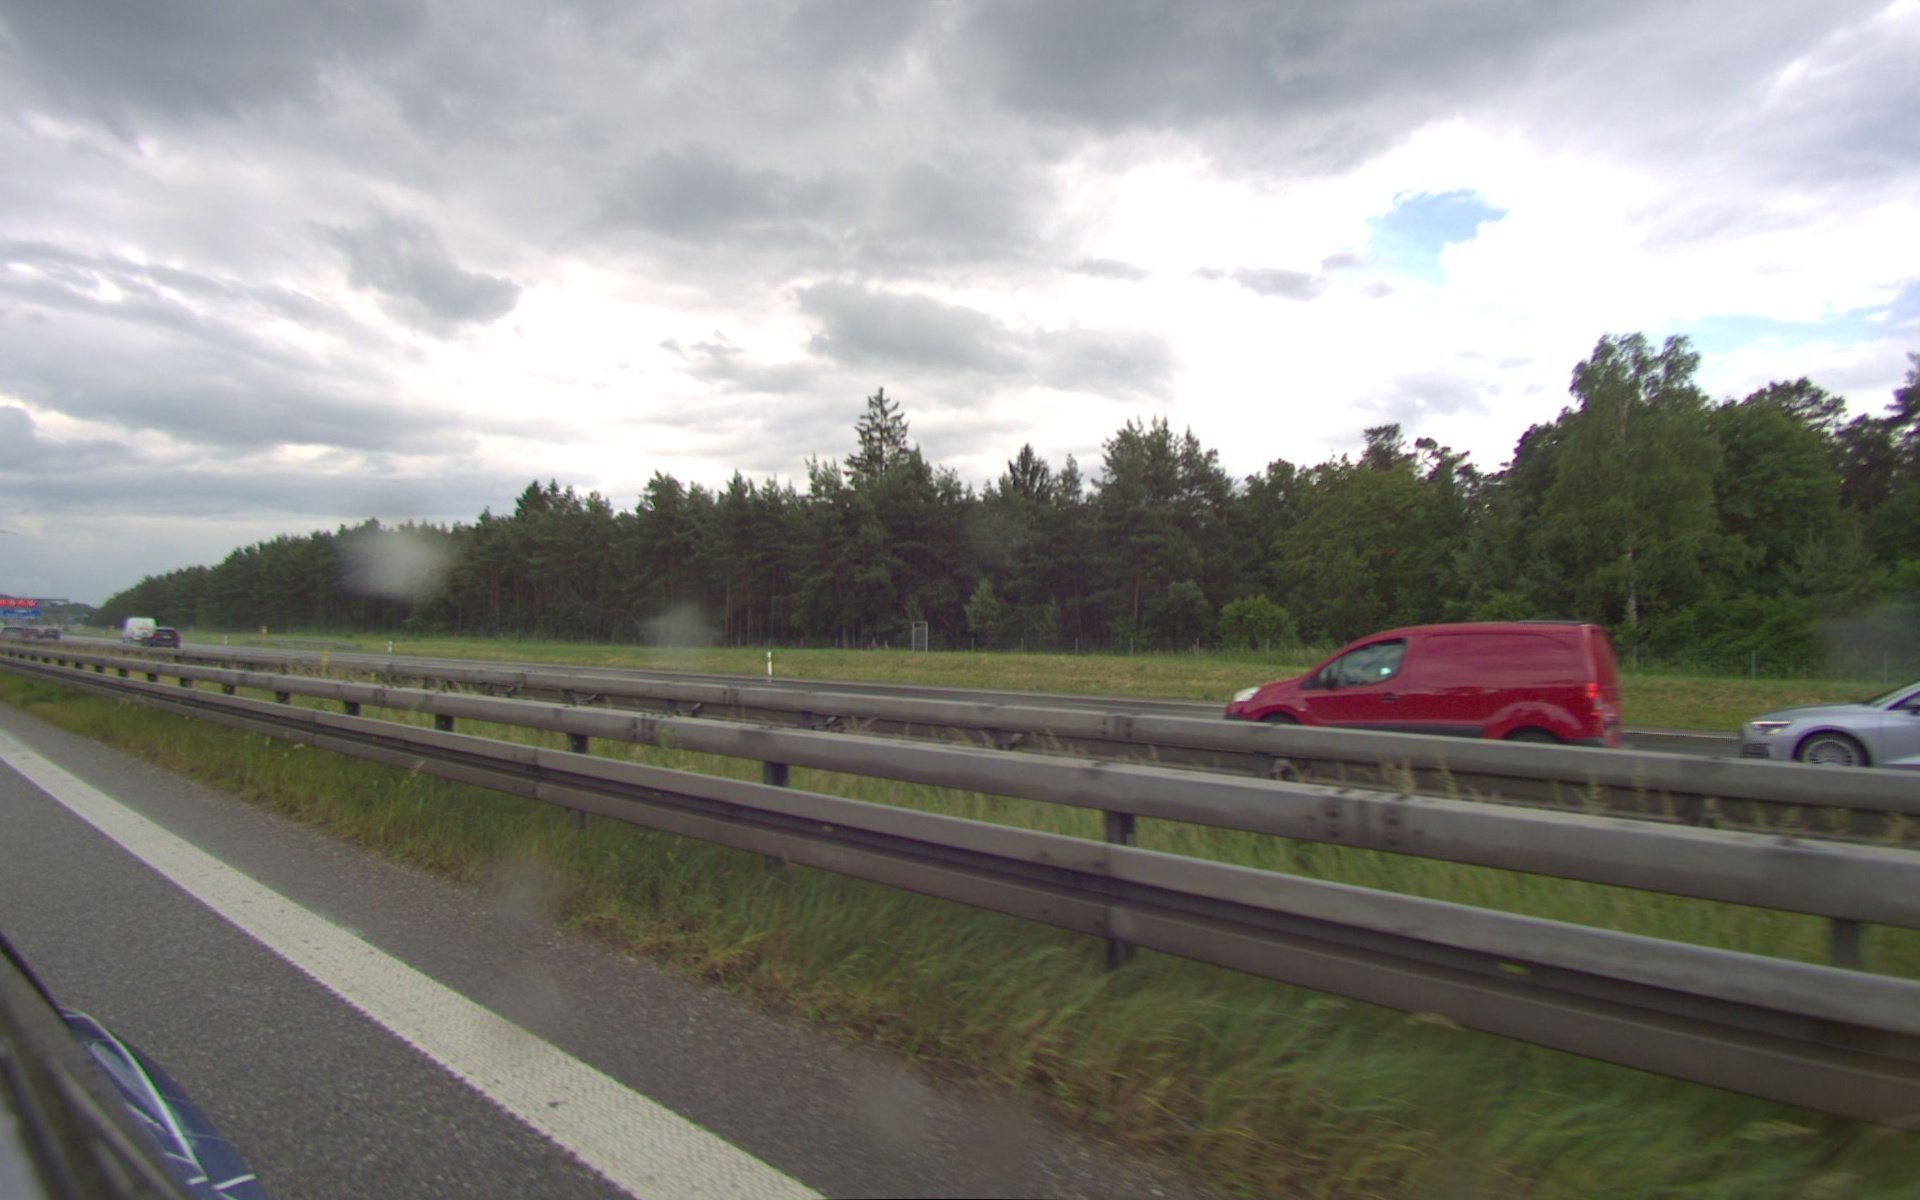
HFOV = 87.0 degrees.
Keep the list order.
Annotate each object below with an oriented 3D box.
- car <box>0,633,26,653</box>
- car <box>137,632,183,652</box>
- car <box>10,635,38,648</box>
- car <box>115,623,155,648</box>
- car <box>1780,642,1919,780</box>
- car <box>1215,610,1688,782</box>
[{"bbox_3d":[-72.736,3.277,77.090,3.997,1.442,1.855,-1,-2,40],"label":"car"},{"bbox_3d":[-59.256,3.099,74.944,3.997,1.483,1.855,-1,-3,40],"label":"car"},{"bbox_3d":[-96.614,4.291,104.466,4.666,1.335,1.679,-2,-4,42],"label":"car"},{"bbox_3d":[-83.890,3.617,102.881,6.582,2.530,2.076,-2,-4,42],"label":"car"},{"bbox_3d":[12.070,1.261,11.174,4.606,1.512,1.973,-1,-4,41],"label":"car"},{"bbox_3d":[5.552,0.952,11.805,4.606,1.621,1.973,-1,-1,41],"label":"car"}]
